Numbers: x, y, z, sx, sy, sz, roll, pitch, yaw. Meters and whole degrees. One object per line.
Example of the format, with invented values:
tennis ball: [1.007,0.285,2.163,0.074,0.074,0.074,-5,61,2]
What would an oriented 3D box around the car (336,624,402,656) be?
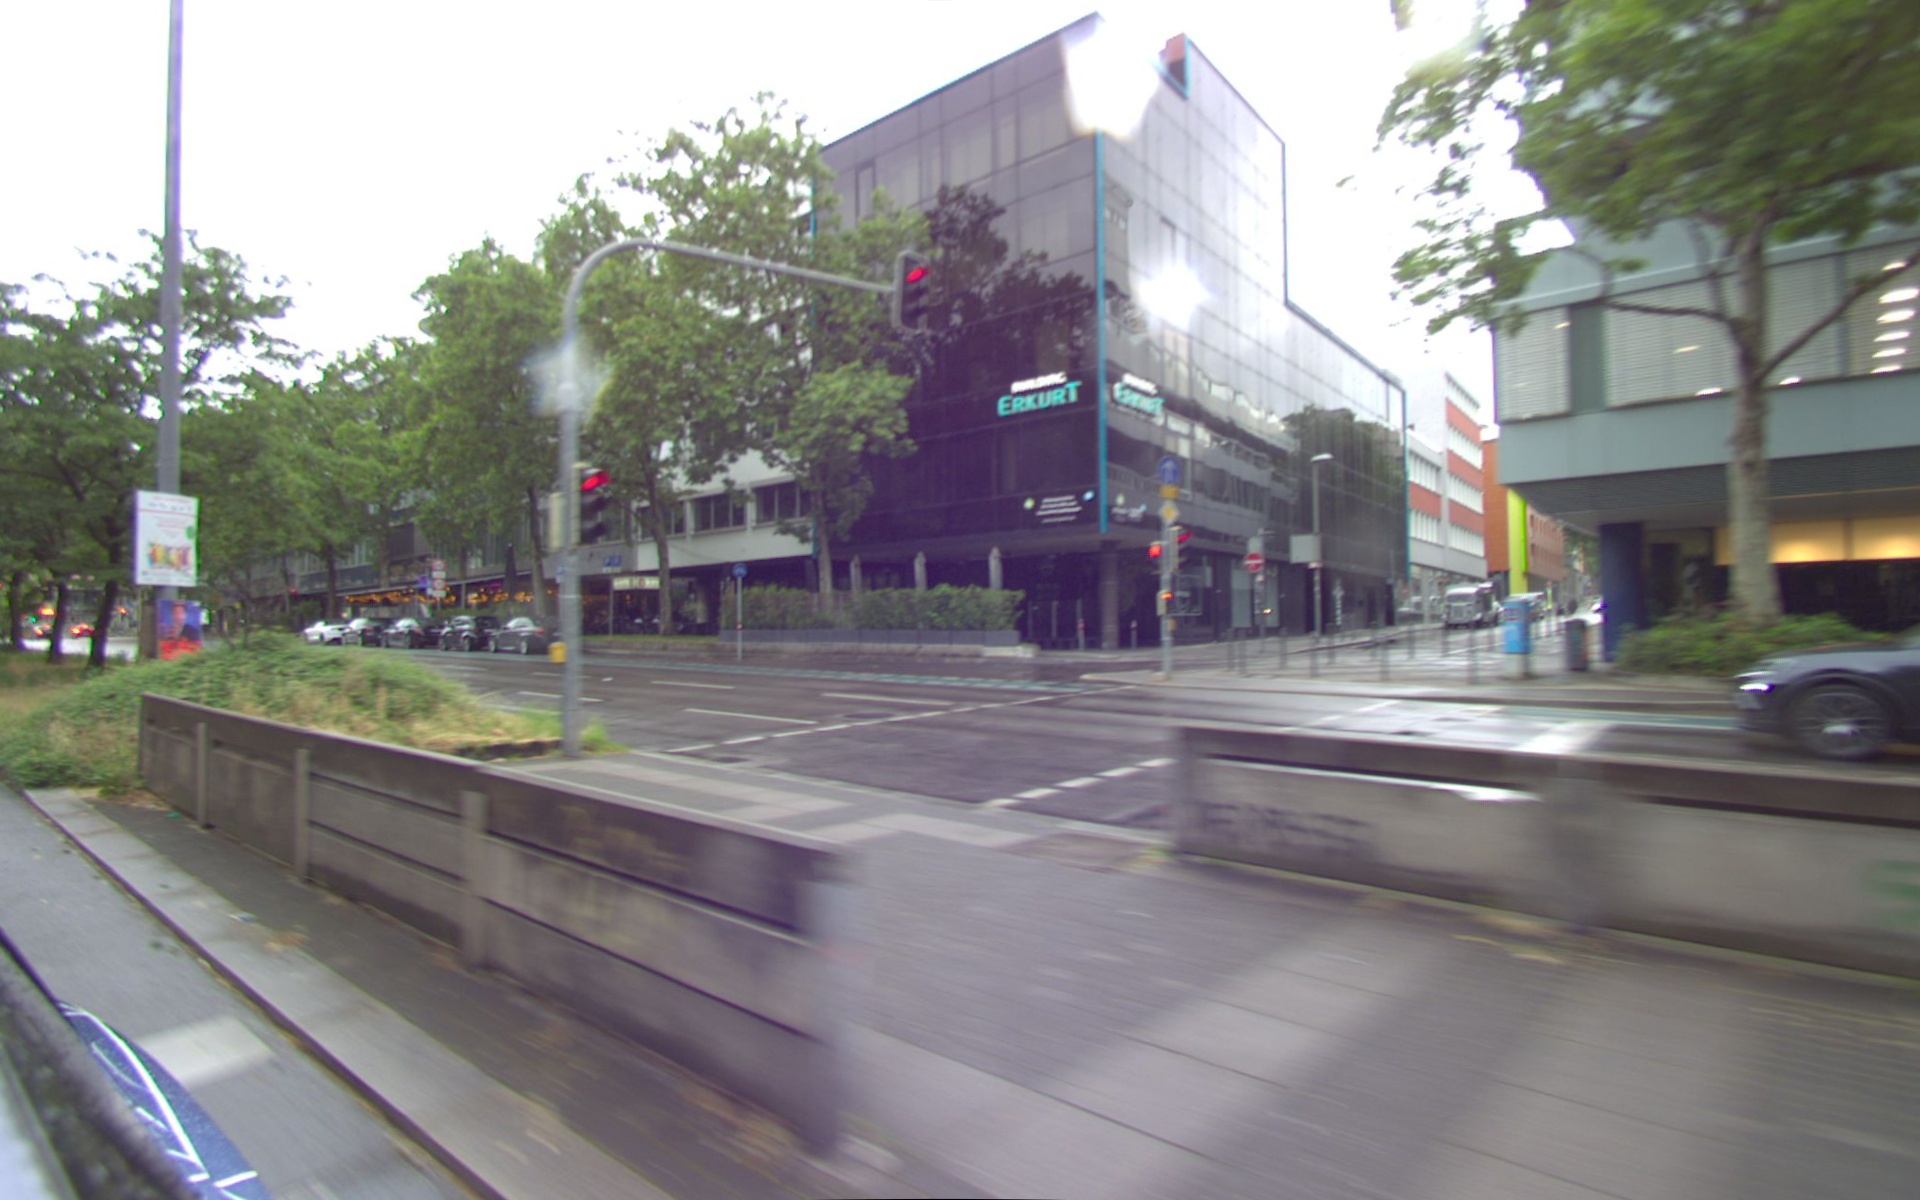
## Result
car: [-29.815,1.972,51.018,3.787,1.464,1.728,-1,0,41]

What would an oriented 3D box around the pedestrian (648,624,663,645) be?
pedestrian: [-14.319,1.624,47.589,0.451,0.970,0.454,-1,0,25]

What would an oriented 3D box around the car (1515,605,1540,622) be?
car: [40.347,0.963,71.933,1.285,1.141,2.650,-1,0,35]

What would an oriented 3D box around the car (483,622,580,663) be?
car: [-16.723,1.616,39.360,4.538,1.396,1.850,-1,0,44]

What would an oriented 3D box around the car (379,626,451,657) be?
car: [-25.202,1.885,46.735,4.318,1.249,1.626,-1,0,42]

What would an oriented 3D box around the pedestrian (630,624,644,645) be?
pedestrian: [-15.376,1.641,48.146,0.461,1.000,0.455,-1,0,25]

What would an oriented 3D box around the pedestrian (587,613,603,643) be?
pedestrian: [-20.390,1.542,56.553,0.623,1.660,0.599,-1,0,36]

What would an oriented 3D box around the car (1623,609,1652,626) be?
car: [64.402,1.681,96.222,1.997,1.519,3.949,-1,0,38]

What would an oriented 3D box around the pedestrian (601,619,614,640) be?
pedestrian: [-17.436,1.449,50.039,0.423,1.024,0.459,-1,0,38]

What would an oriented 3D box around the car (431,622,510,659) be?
car: [-20.763,1.689,42.894,3.399,1.433,1.851,-1,0,41]

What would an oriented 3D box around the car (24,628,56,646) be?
car: [-89.087,3.563,97.974,3.725,1.586,1.758,-1,0,39]

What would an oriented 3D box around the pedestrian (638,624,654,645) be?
pedestrian: [-14.826,1.625,47.804,0.488,1.008,0.481,-1,0,25]

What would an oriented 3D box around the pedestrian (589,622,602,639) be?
pedestrian: [-18.372,1.546,51.049,0.433,0.856,0.435,-1,0,38]

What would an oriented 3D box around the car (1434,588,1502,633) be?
car: [28.407,0.511,56.453,2.246,2.341,6.681,-1,0,37]

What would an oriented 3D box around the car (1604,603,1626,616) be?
car: [83.750,1.192,129.414,1.997,1.519,3.949,-1,0,38]

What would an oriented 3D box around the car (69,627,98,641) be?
car: [-90.075,3.449,103.993,3.736,1.335,1.743,-1,0,41]

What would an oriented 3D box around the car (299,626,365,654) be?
car: [-33.965,2.138,54.685,4.390,1.336,1.857,-1,0,41]

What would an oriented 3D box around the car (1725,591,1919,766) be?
car: [10.155,0.707,9.331,4.748,1.596,1.888,-1,0,45]

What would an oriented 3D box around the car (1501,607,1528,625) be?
car: [37.032,1.078,67.579,1.253,1.141,2.586,-1,0,35]
